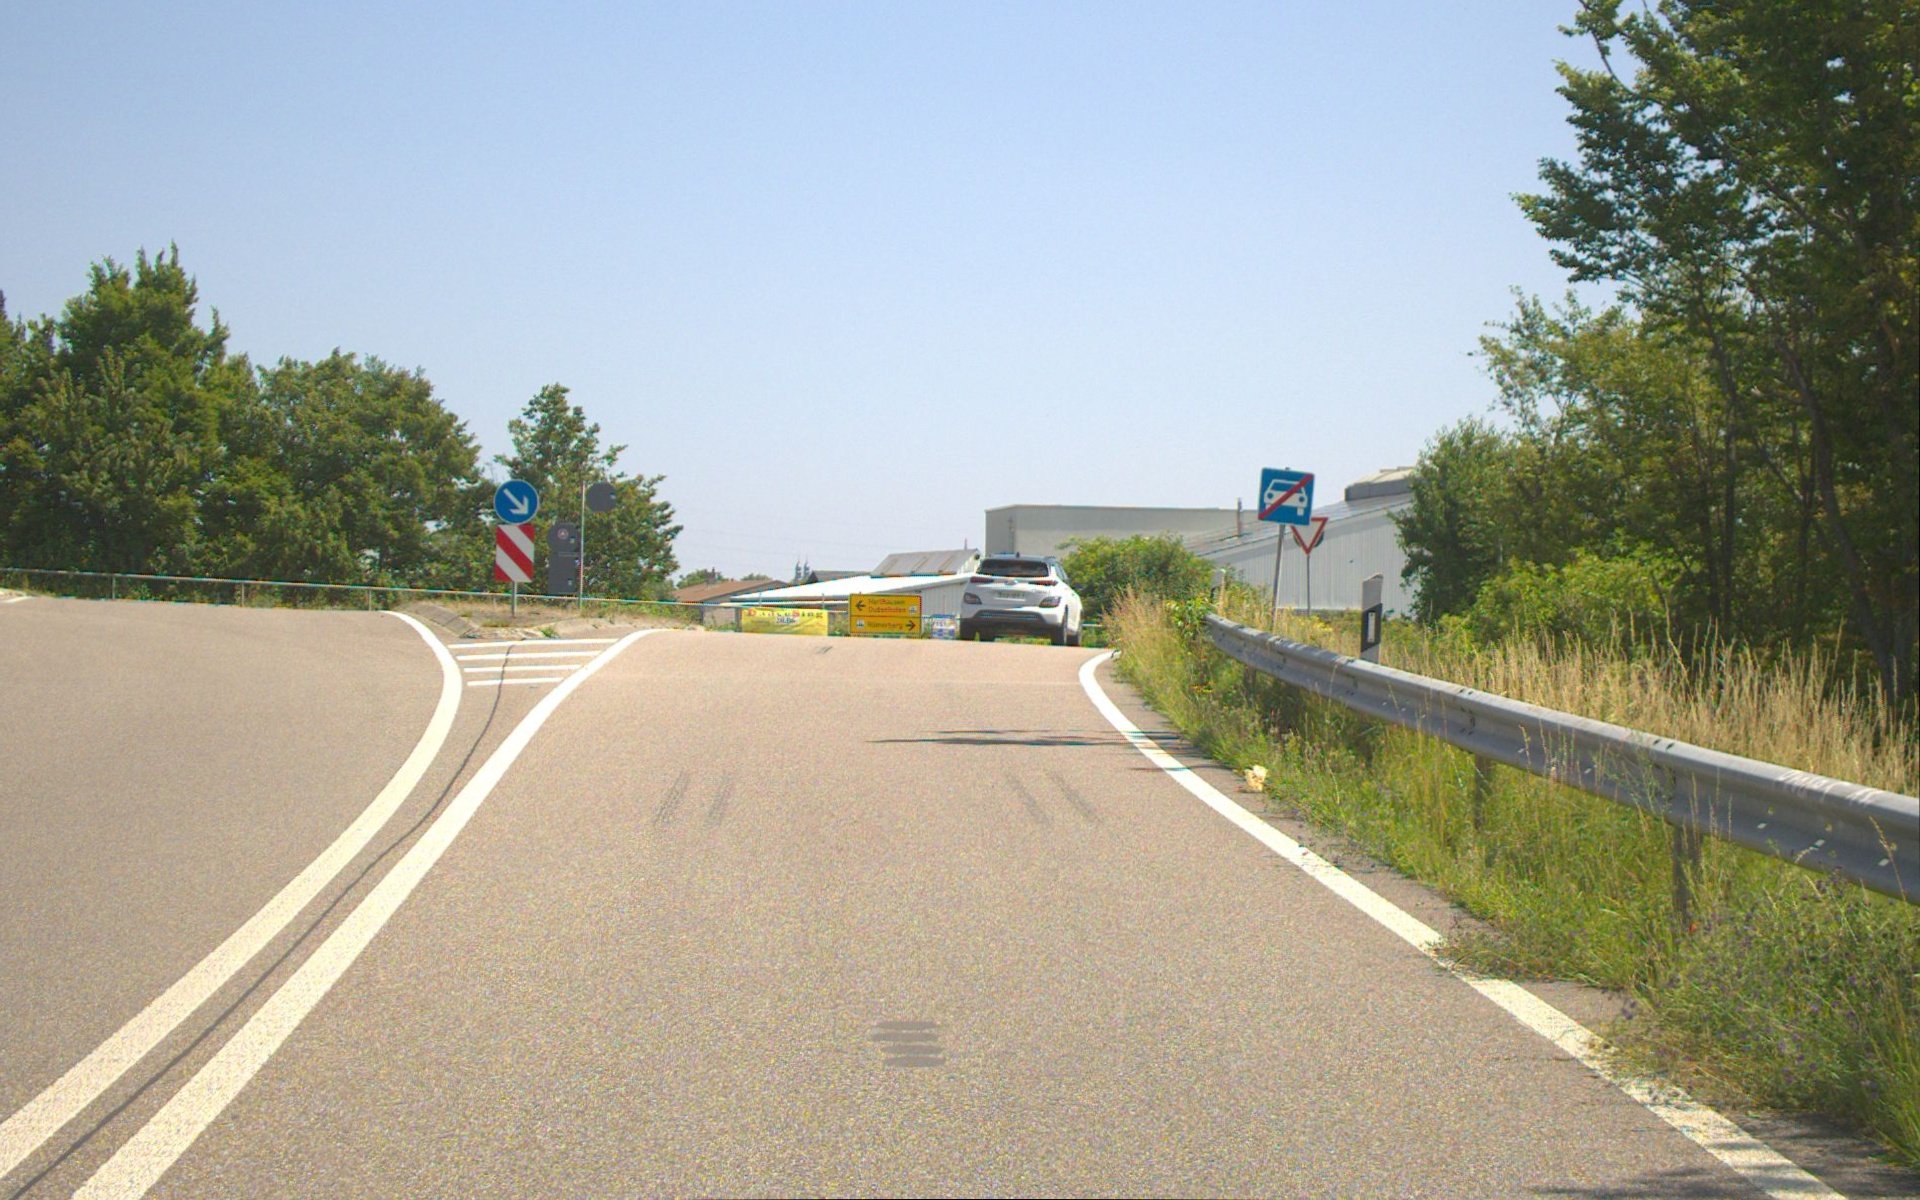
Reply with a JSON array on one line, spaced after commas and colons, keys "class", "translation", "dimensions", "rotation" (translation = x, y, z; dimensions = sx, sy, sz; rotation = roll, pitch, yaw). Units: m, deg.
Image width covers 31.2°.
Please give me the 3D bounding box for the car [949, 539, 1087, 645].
[{"class": "car", "translation": [1.047, -0.112, 60.137], "dimensions": [1.809, 1.685, 3.998], "rotation": [3, -1, 9]}]
